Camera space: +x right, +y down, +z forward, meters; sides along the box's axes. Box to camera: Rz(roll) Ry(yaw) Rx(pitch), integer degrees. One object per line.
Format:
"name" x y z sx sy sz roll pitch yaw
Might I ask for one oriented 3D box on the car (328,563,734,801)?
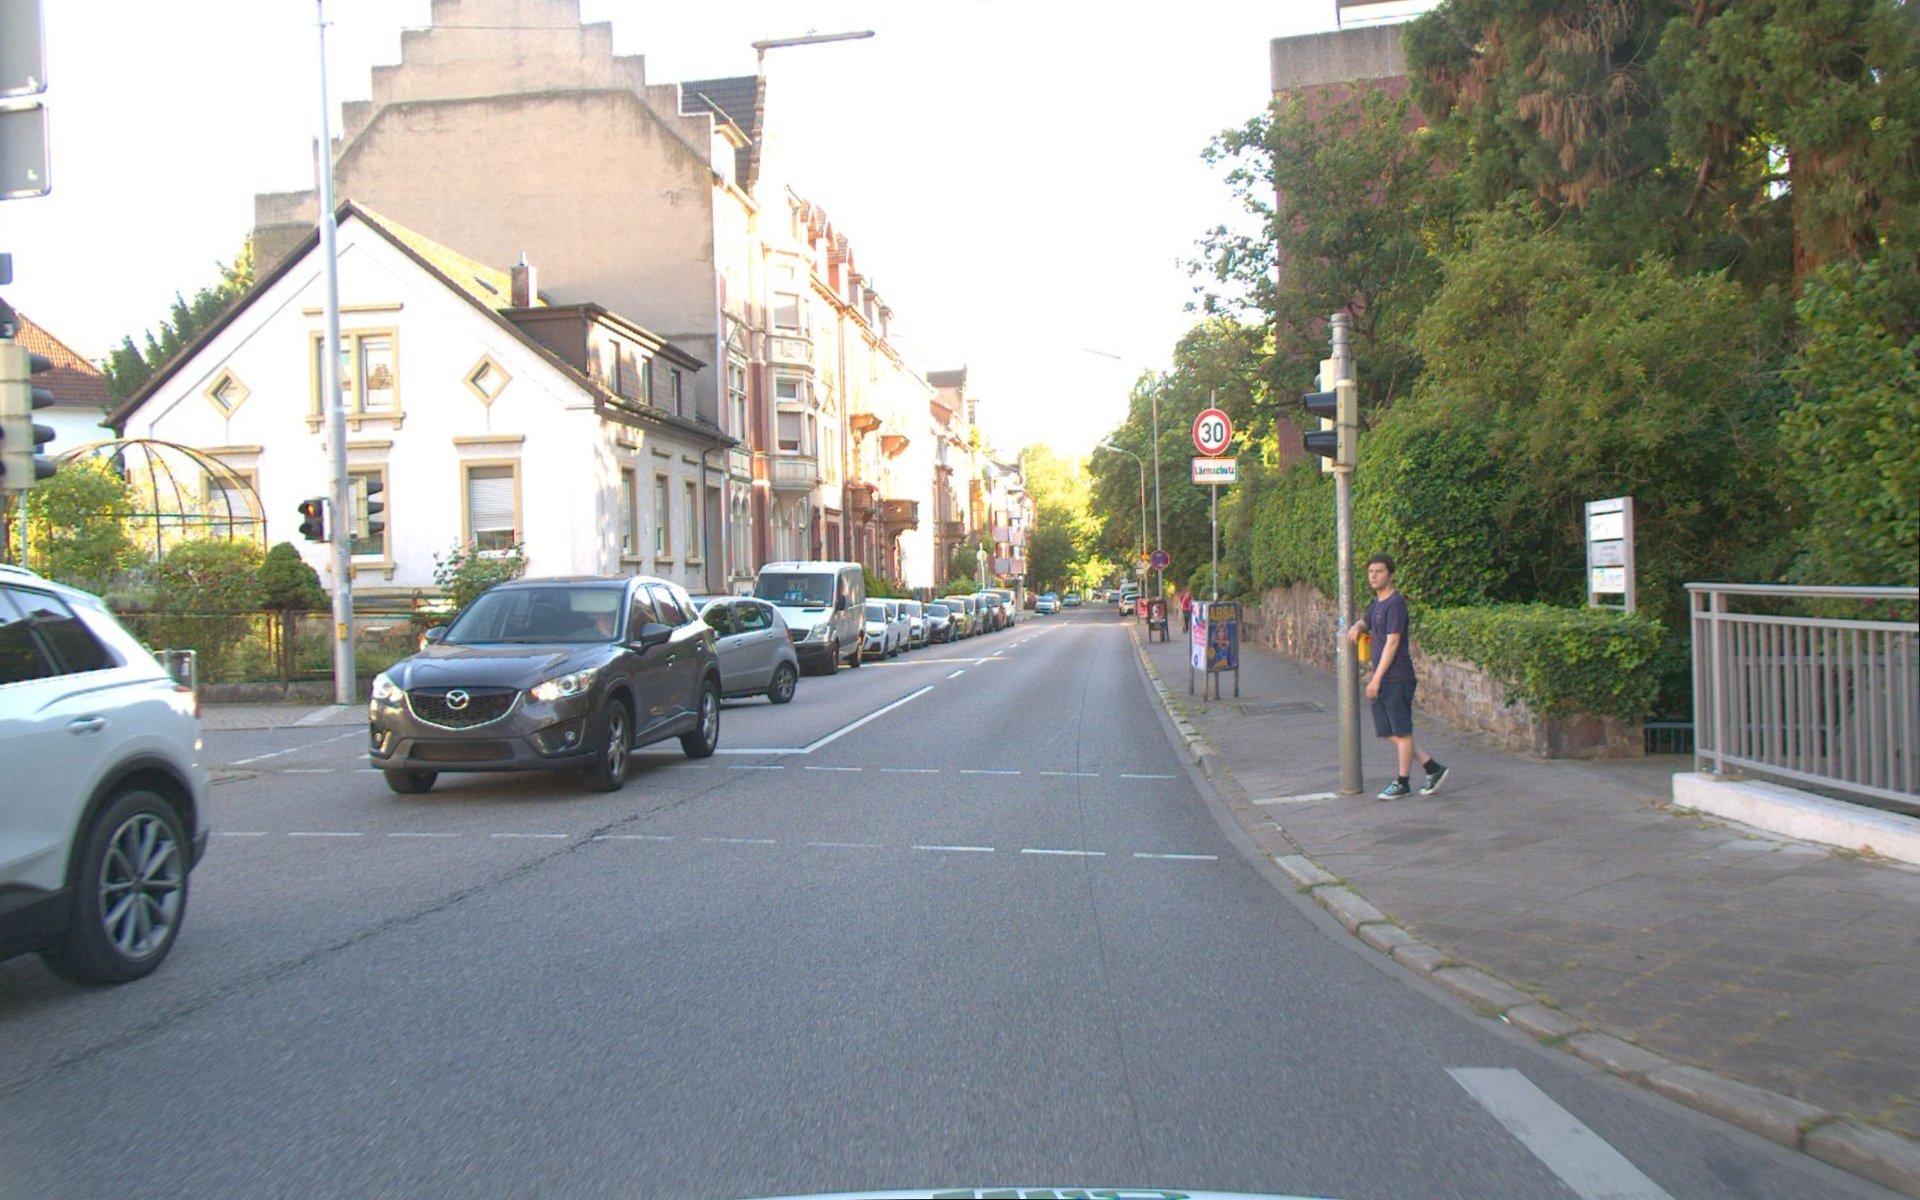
"car" -3.351 0.536 13.889 1.912 1.677 4.287 0 1 6

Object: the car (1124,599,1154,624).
"car" 12.695 0.809 117.172 1.951 1.544 4.004 -2 1 7

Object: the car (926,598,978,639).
"car" -0.294 0.714 63.674 1.666 1.529 4.074 0 -1 4

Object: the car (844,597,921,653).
"car" -2.241 0.707 48.875 1.666 1.529 4.023 0 0 6

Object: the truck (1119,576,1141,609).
"truck" 16.252 -0.730 158.608 1.951 2.947 4.473 -2 1 5

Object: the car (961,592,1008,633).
"car" 1.107 0.537 73.533 1.666 1.737 4.444 0 0 6

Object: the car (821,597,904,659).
"car" -2.517 0.692 43.363 1.666 1.529 3.825 0 0 4

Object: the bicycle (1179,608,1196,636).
"bicycle" 8.224 0.805 59.806 0.554 0.987 0.492 0 1 4

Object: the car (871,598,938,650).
"car" -1.755 0.735 53.446 1.666 1.563 4.552 0 0 4

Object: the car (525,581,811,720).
"car" -3.926 0.609 23.027 1.914 1.677 4.283 0 1 22

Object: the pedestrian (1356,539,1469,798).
"pedestrian" 3.122 0.458 11.456 0.589 1.722 0.612 -2 1 4

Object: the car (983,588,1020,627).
"car" 2.269 0.375 89.545 1.755 2.045 4.700 0 0 4

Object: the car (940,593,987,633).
"car" 0.156 0.508 68.667 1.666 1.611 3.637 0 0 4

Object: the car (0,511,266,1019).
"car" -4.071 0.560 5.058 1.738 1.677 4.537 0 1 3

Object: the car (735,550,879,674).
"car" -3.272 0.225 36.668 2.024 2.503 6.018 0 0 6

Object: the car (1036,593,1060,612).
"car" 8.056 0.212 150.456 1.951 1.517 4.474 -2 1 5

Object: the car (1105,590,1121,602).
"car" 21.855 -0.576 235.965 1.952 1.517 4.472 -2 1 3

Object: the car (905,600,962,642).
"car" -0.914 0.719 58.629 1.666 1.390 3.862 0 0 4

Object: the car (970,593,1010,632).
"car" 1.446 0.570 78.738 1.666 1.769 3.859 0 0 4

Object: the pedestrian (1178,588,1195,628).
"pedestrian" 8.267 0.287 60.413 0.585 1.427 0.668 0 1 4

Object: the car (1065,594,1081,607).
"car" 14.795 0.089 216.812 1.951 1.517 4.474 -2 1 5
